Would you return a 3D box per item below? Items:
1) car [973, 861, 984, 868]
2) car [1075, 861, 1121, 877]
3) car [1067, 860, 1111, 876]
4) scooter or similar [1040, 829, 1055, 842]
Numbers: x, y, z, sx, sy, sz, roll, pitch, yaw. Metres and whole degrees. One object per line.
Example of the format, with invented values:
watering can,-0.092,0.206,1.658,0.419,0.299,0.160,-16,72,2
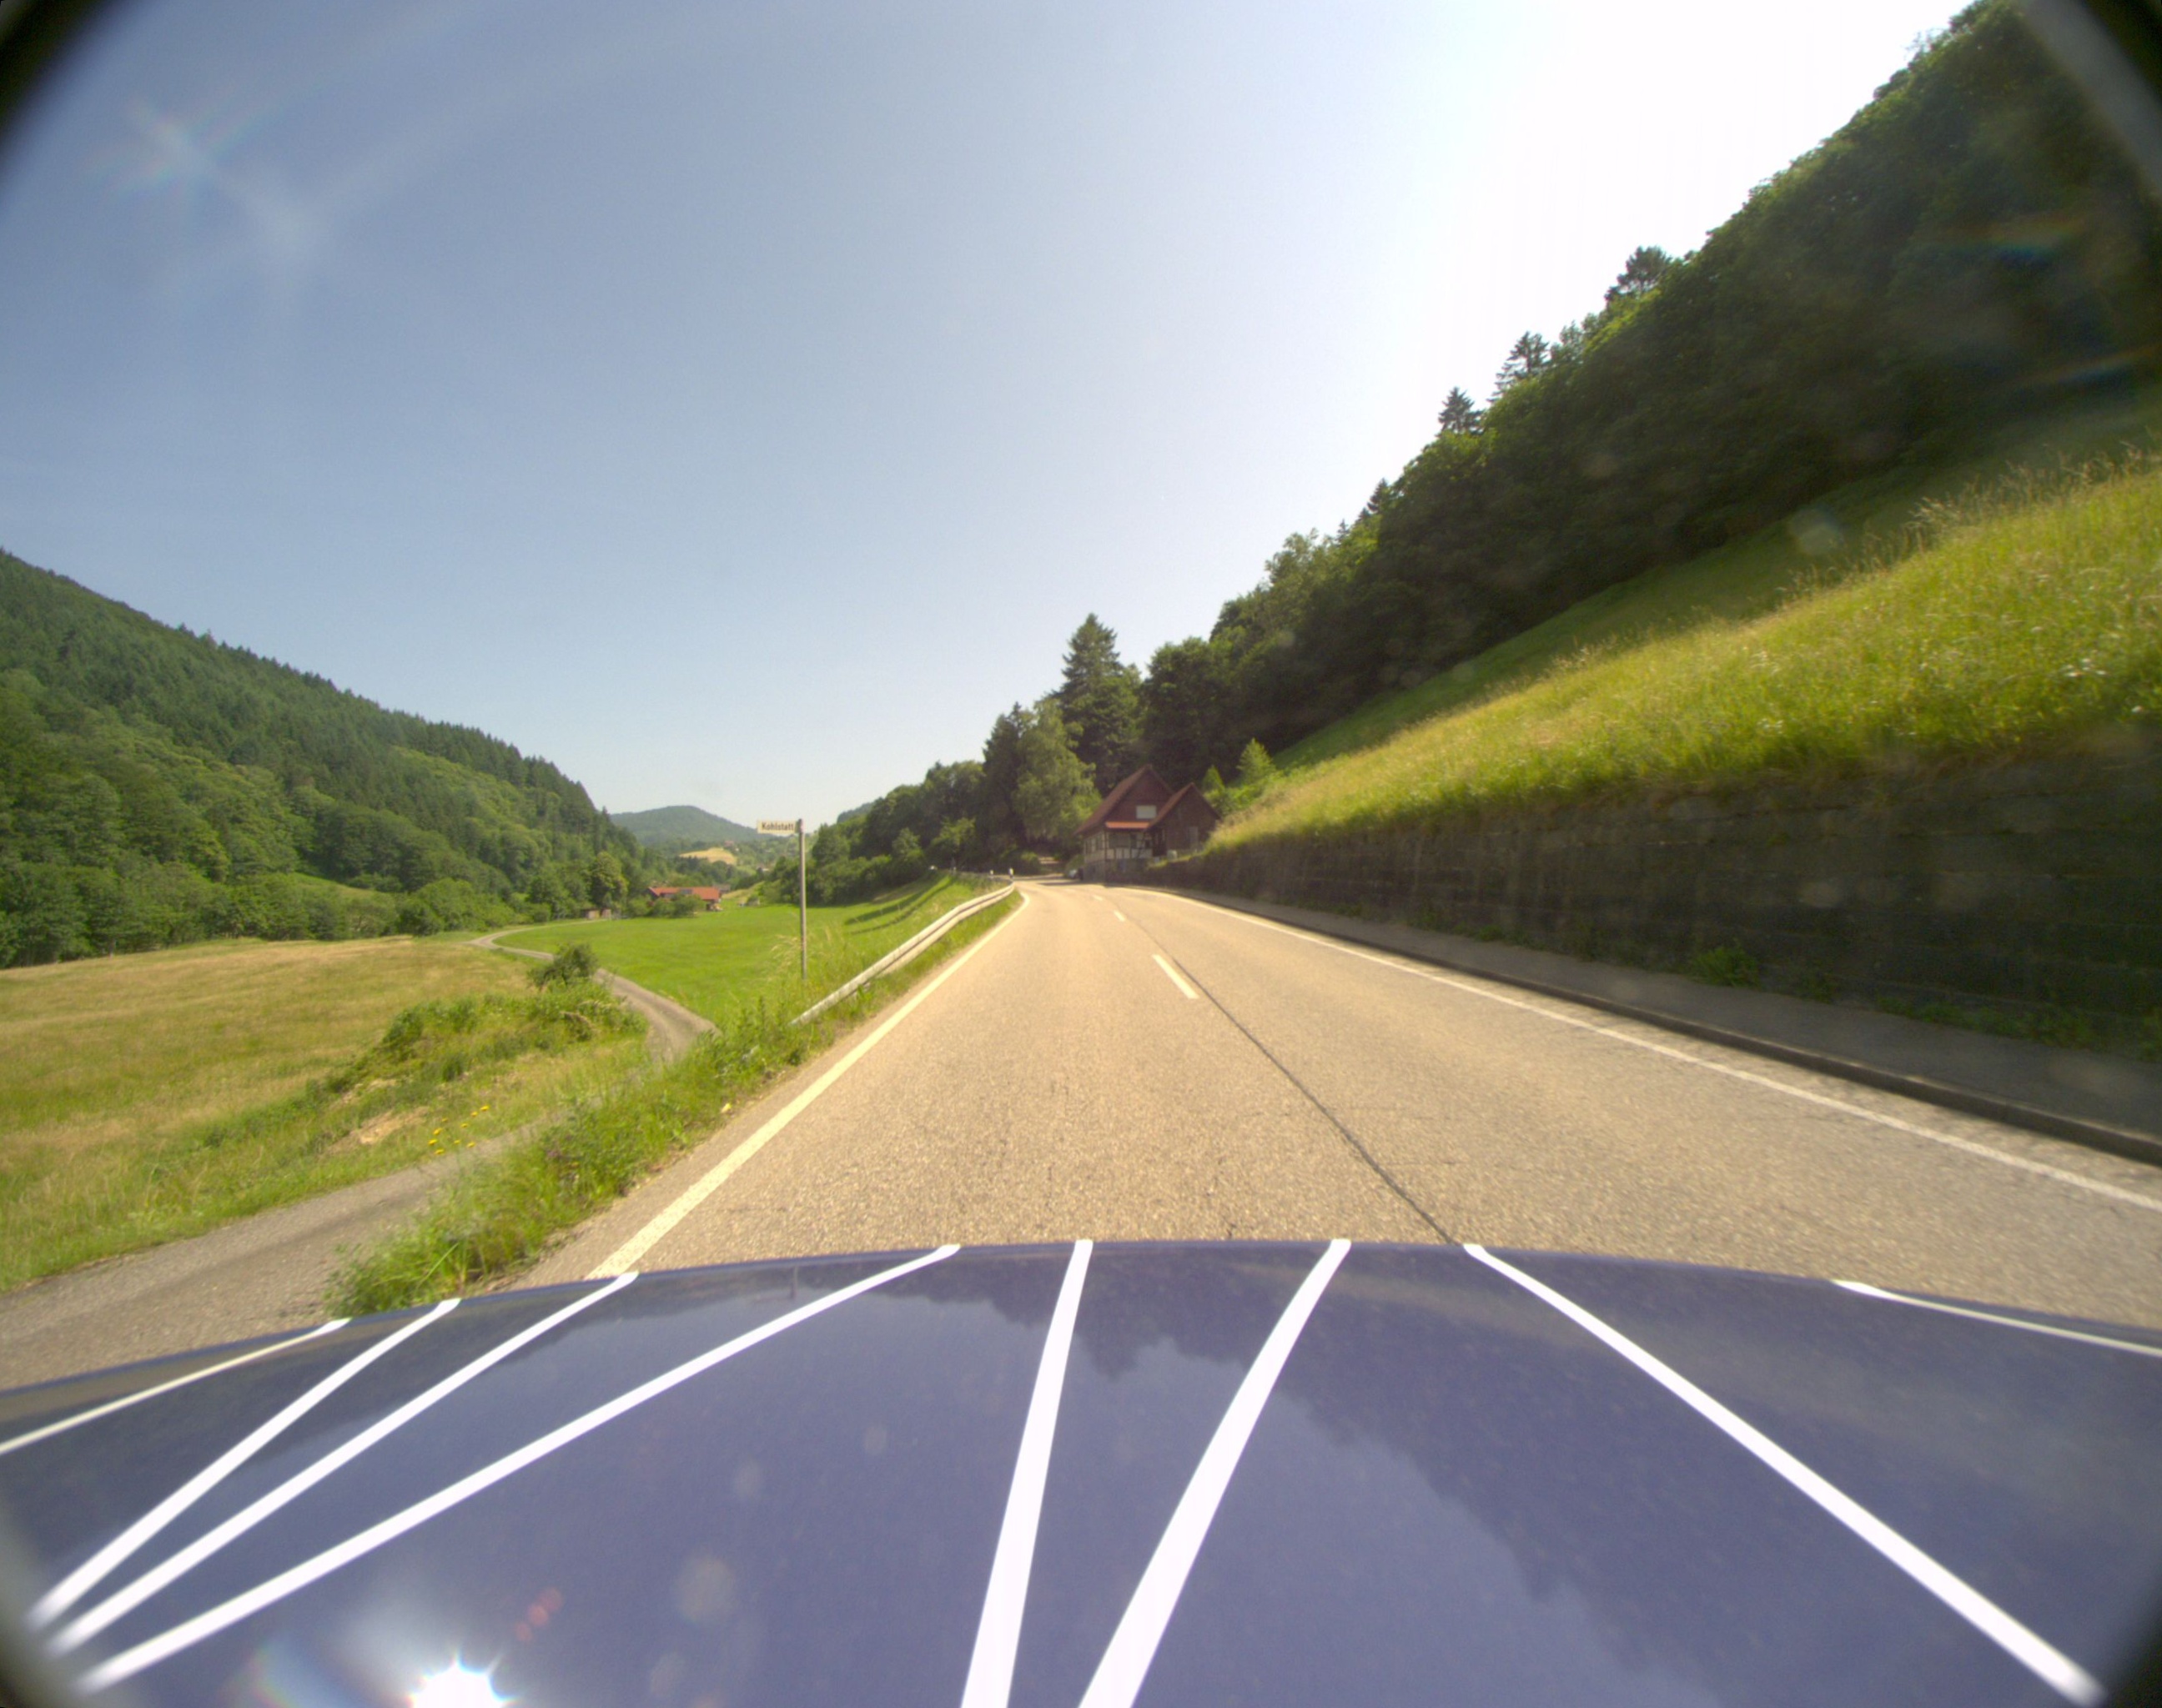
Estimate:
car,-22.253,2.263,164.841,1.772,1.388,4.138,-3,1,-18
car,1.565,1.351,70.562,3.831,1.424,1.861,0,1,-14
car,0.755,1.357,73.071,3.830,1.408,1.855,-2,-1,-15
scooter or similar,-5.618,-3.109,127.592,1.984,2.015,4.402,-6,1,-7
